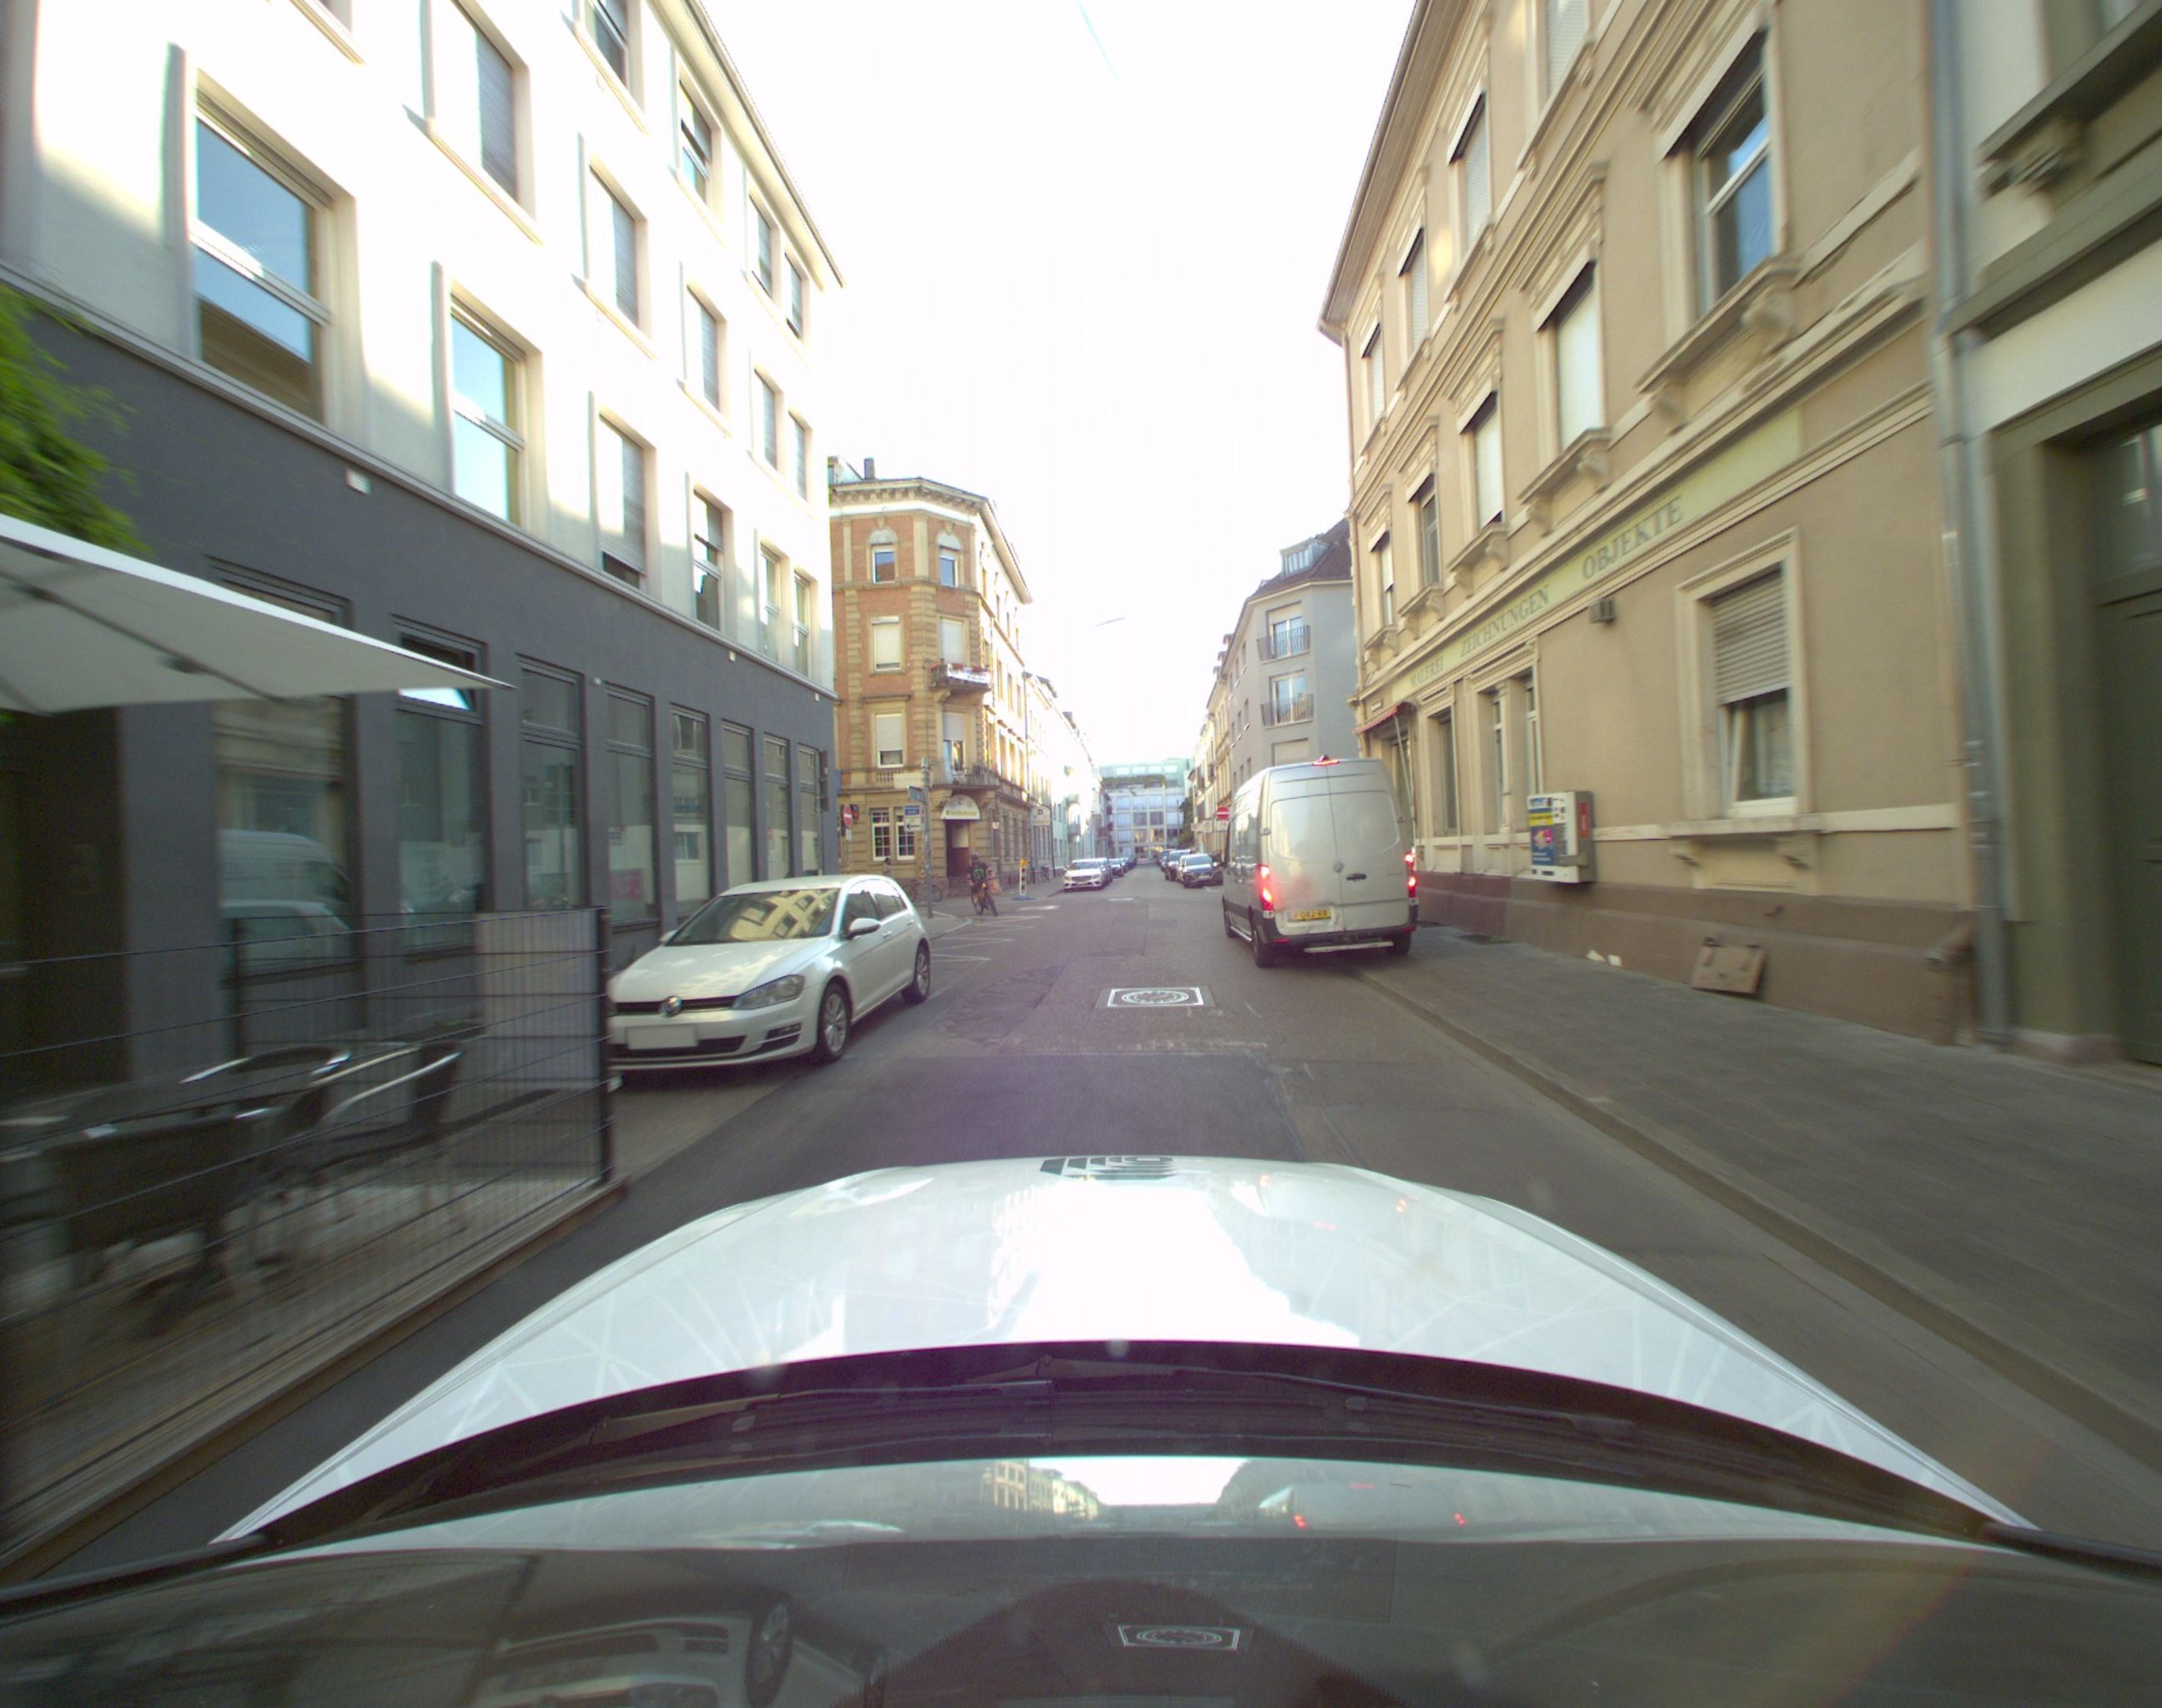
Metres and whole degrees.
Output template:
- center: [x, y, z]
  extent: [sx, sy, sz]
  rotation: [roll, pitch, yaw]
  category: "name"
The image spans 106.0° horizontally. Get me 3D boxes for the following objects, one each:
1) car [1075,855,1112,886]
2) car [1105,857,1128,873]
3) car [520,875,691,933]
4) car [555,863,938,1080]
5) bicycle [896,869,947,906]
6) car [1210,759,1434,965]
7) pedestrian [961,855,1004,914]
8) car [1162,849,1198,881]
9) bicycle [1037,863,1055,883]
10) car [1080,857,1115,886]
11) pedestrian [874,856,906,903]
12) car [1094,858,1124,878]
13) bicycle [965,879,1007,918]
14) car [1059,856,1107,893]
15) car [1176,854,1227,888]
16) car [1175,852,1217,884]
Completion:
- center: [0.746, 0.883, 44.657]
  extent: [1.616, 1.577, 3.760]
  rotation: [-2, 0, 6]
  category: "car"
- center: [3.454, 1.021, 79.628]
  extent: [2.164, 1.418, 4.003]
  rotation: [-2, 0, 3]
  category: "car"
- center: [-14.635, 1.526, 25.224]
  extent: [4.084, 1.524, 2.017]
  rotation: [-2, 0, 5]
  category: "car"
- center: [-2.648, 0.828, 7.522]
  extent: [1.650, 1.414, 3.886]
  rotation: [-3, -1, 4]
  category: "car"
- center: [-6.036, 1.255, 30.906]
  extent: [1.751, 1.275, 0.661]
  rotation: [-2, 3, 1]
  category: "bicycle"
- center: [3.426, 0.108, 13.050]
  extent: [2.265, 2.439, 6.213]
  rotation: [-2, 0, 6]
  category: "car"
- center: [-2.714, 0.829, 22.433]
  extent: [0.833, 1.545, 1.074]
  rotation: [-2, 0, -25]
  category: "pedestrian"
- center: [5.909, 0.654, 49.046]
  extent: [1.885, 1.784, 4.004]
  rotation: [-2, 0, 4]
  category: "car"
- center: [-2.158, 1.150, 50.630]
  extent: [0.734, 1.160, 2.464]
  rotation: [-2, 0, 5]
  category: "bicycle"
- center: [1.063, 1.026, 50.396]
  extent: [1.776, 1.658, 3.823]
  rotation: [-2, 0, 6]
  category: "car"
- center: [-7.338, 0.979, 31.344]
  extent: [1.011, 1.742, 0.983]
  rotation: [-2, 0, -4]
  category: "pedestrian"
- center: [2.158, 1.064, 61.879]
  extent: [1.984, 1.355, 4.434]
  rotation: [-2, 0, 4]
  category: "car"
- center: [-2.646, 1.201, 22.448]
  extent: [0.540, 1.007, 1.965]
  rotation: [-2, 0, -24]
  category: "bicycle"
- center: [0.148, 0.926, 39.015]
  extent: [1.985, 1.564, 4.510]
  rotation: [-2, 0, 3]
  category: "car"
- center: [5.479, 0.739, 37.541]
  extent: [1.930, 1.372, 3.792]
  rotation: [-4, 0, 4]
  category: "car"
- center: [6.096, 0.724, 43.591]
  extent: [1.955, 1.557, 3.893]
  rotation: [-2, 0, 4]
  category: "car"
